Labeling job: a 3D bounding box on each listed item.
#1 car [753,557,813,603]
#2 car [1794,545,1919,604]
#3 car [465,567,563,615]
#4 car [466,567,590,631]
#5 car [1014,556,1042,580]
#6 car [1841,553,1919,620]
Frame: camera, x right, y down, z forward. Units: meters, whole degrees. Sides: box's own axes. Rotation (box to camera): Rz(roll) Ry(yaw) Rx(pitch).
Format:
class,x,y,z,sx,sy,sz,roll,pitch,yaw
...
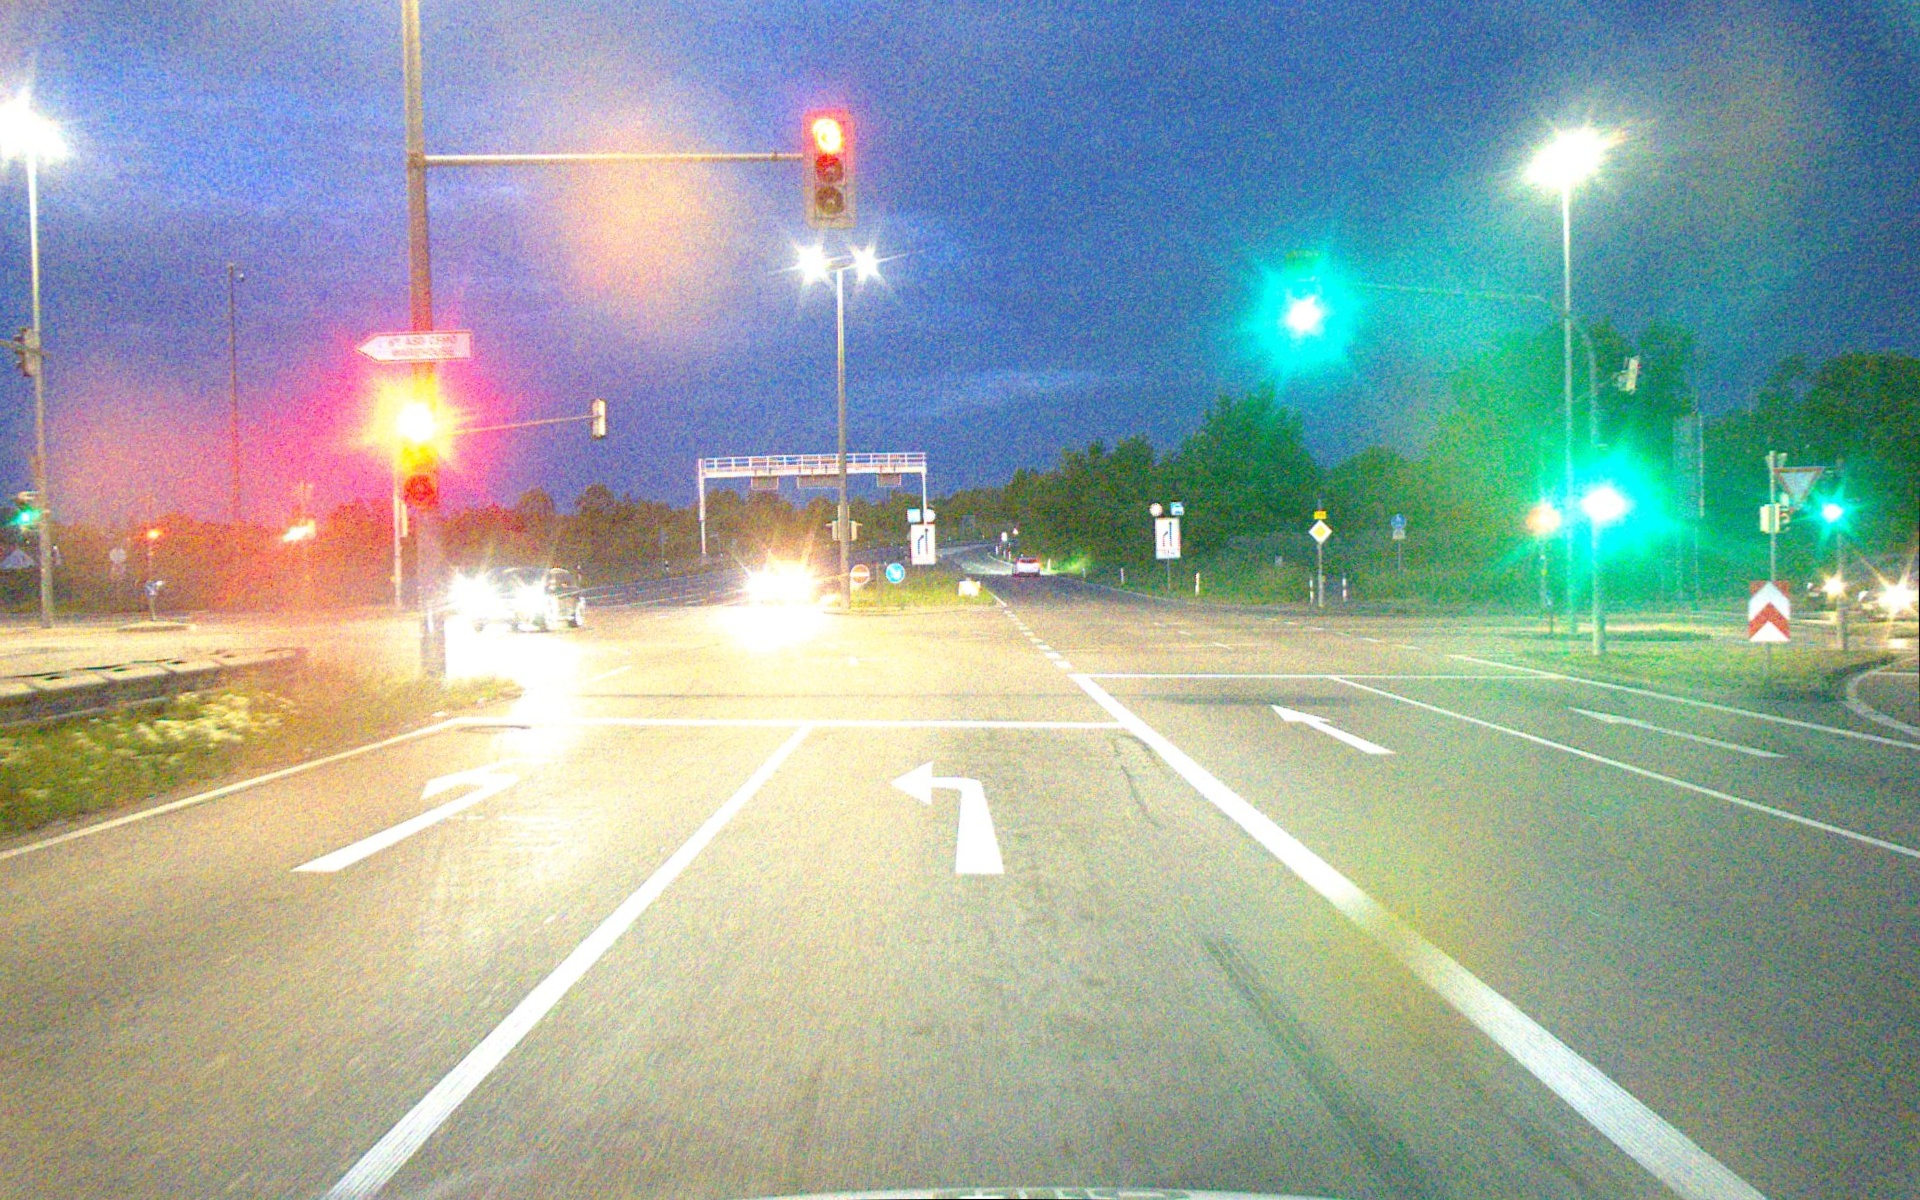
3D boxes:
class,x,y,z,sx,sy,sz,roll,pitch,yaw
car,-6.871,-0.803,64.560,1.953,1.727,4.000,0,1,-1
car,26.307,-0.748,47.372,3.908,1.596,1.900,-1,1,-4
car,-14.100,-0.333,52.525,1.953,1.450,4.531,0,1,-1
car,-10.650,-0.068,41.122,1.953,1.507,4.681,0,1,-1
car,4.940,-2.297,120.220,1.966,1.639,3.846,1,0,2
car,24.069,-0.351,40.455,3.992,1.596,2.001,0,1,-4
